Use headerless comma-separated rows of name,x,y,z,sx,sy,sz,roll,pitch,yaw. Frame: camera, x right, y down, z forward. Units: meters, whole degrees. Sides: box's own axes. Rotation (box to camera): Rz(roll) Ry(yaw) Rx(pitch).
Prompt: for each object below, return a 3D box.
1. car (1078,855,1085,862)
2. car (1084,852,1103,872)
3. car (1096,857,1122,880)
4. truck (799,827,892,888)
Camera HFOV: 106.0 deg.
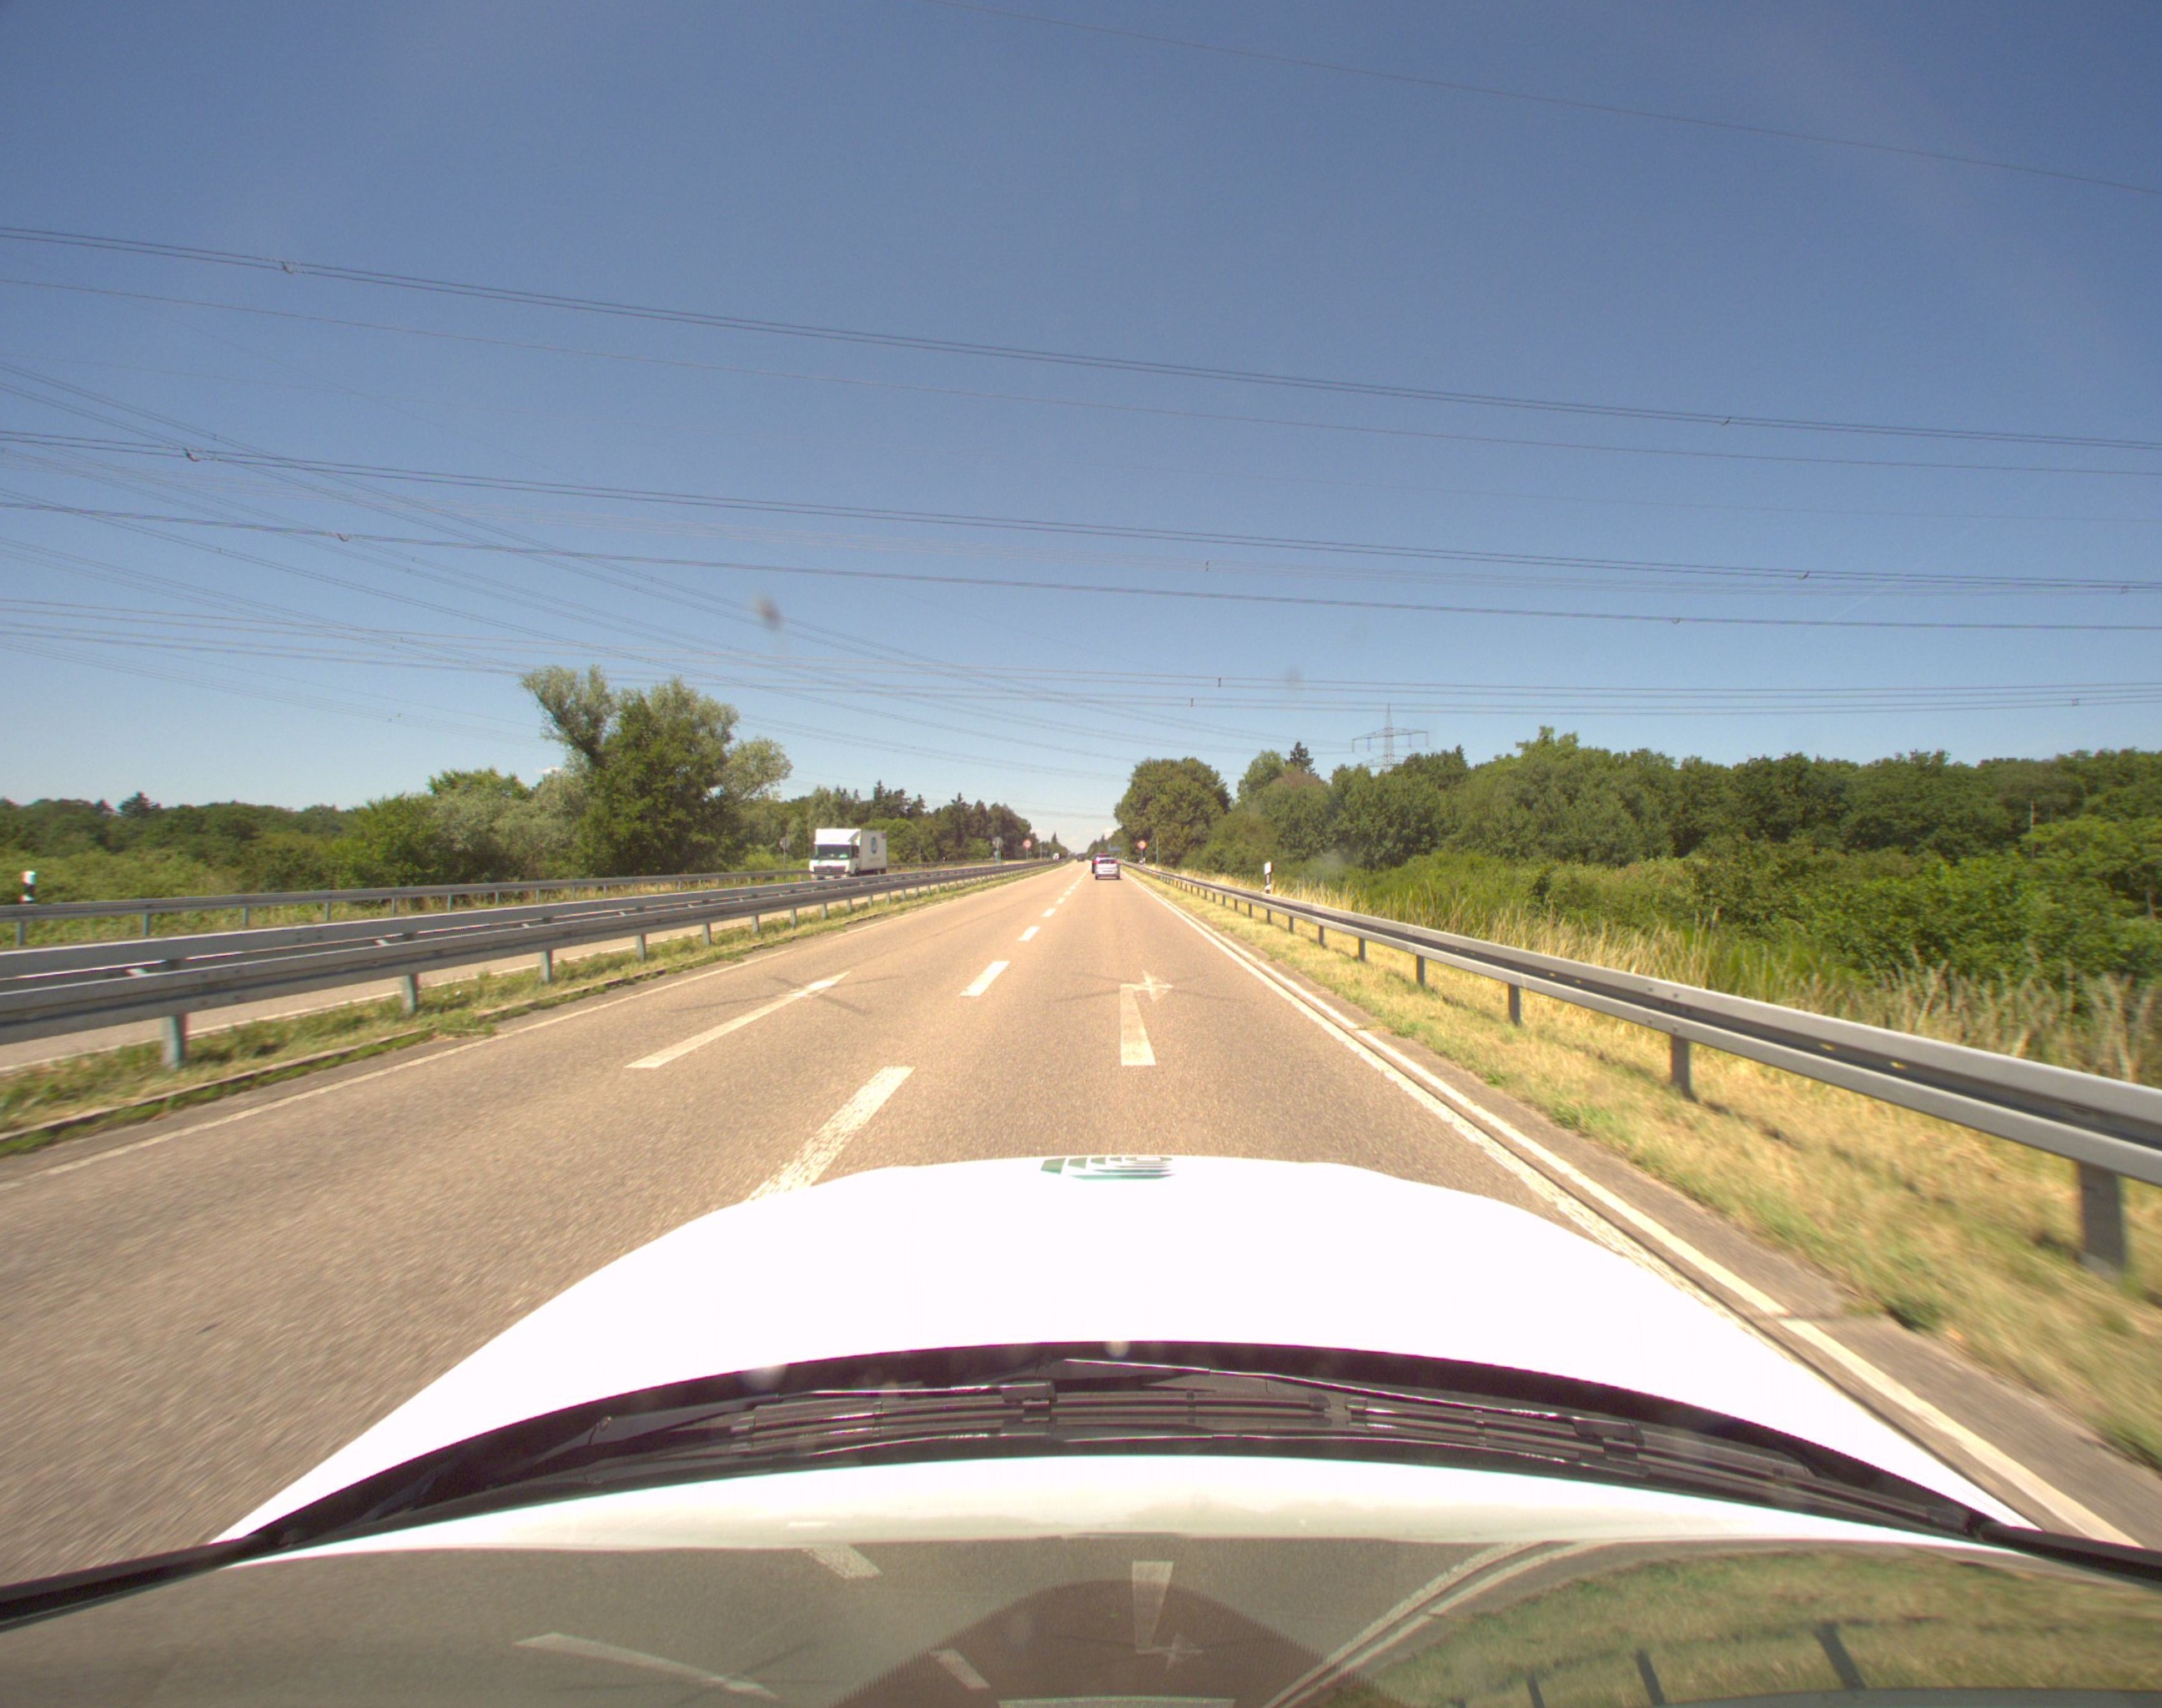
car,0.183,1.127,201.962,1.706,1.471,3.574,2,0,0
car,1.104,0.681,72.582,1.635,1.654,3.573,2,0,0
car,1.853,0.952,54.767,1.634,1.468,3.419,2,0,1
truck,-13.448,0.182,47.405,2.708,3.193,8.408,-1,0,2
